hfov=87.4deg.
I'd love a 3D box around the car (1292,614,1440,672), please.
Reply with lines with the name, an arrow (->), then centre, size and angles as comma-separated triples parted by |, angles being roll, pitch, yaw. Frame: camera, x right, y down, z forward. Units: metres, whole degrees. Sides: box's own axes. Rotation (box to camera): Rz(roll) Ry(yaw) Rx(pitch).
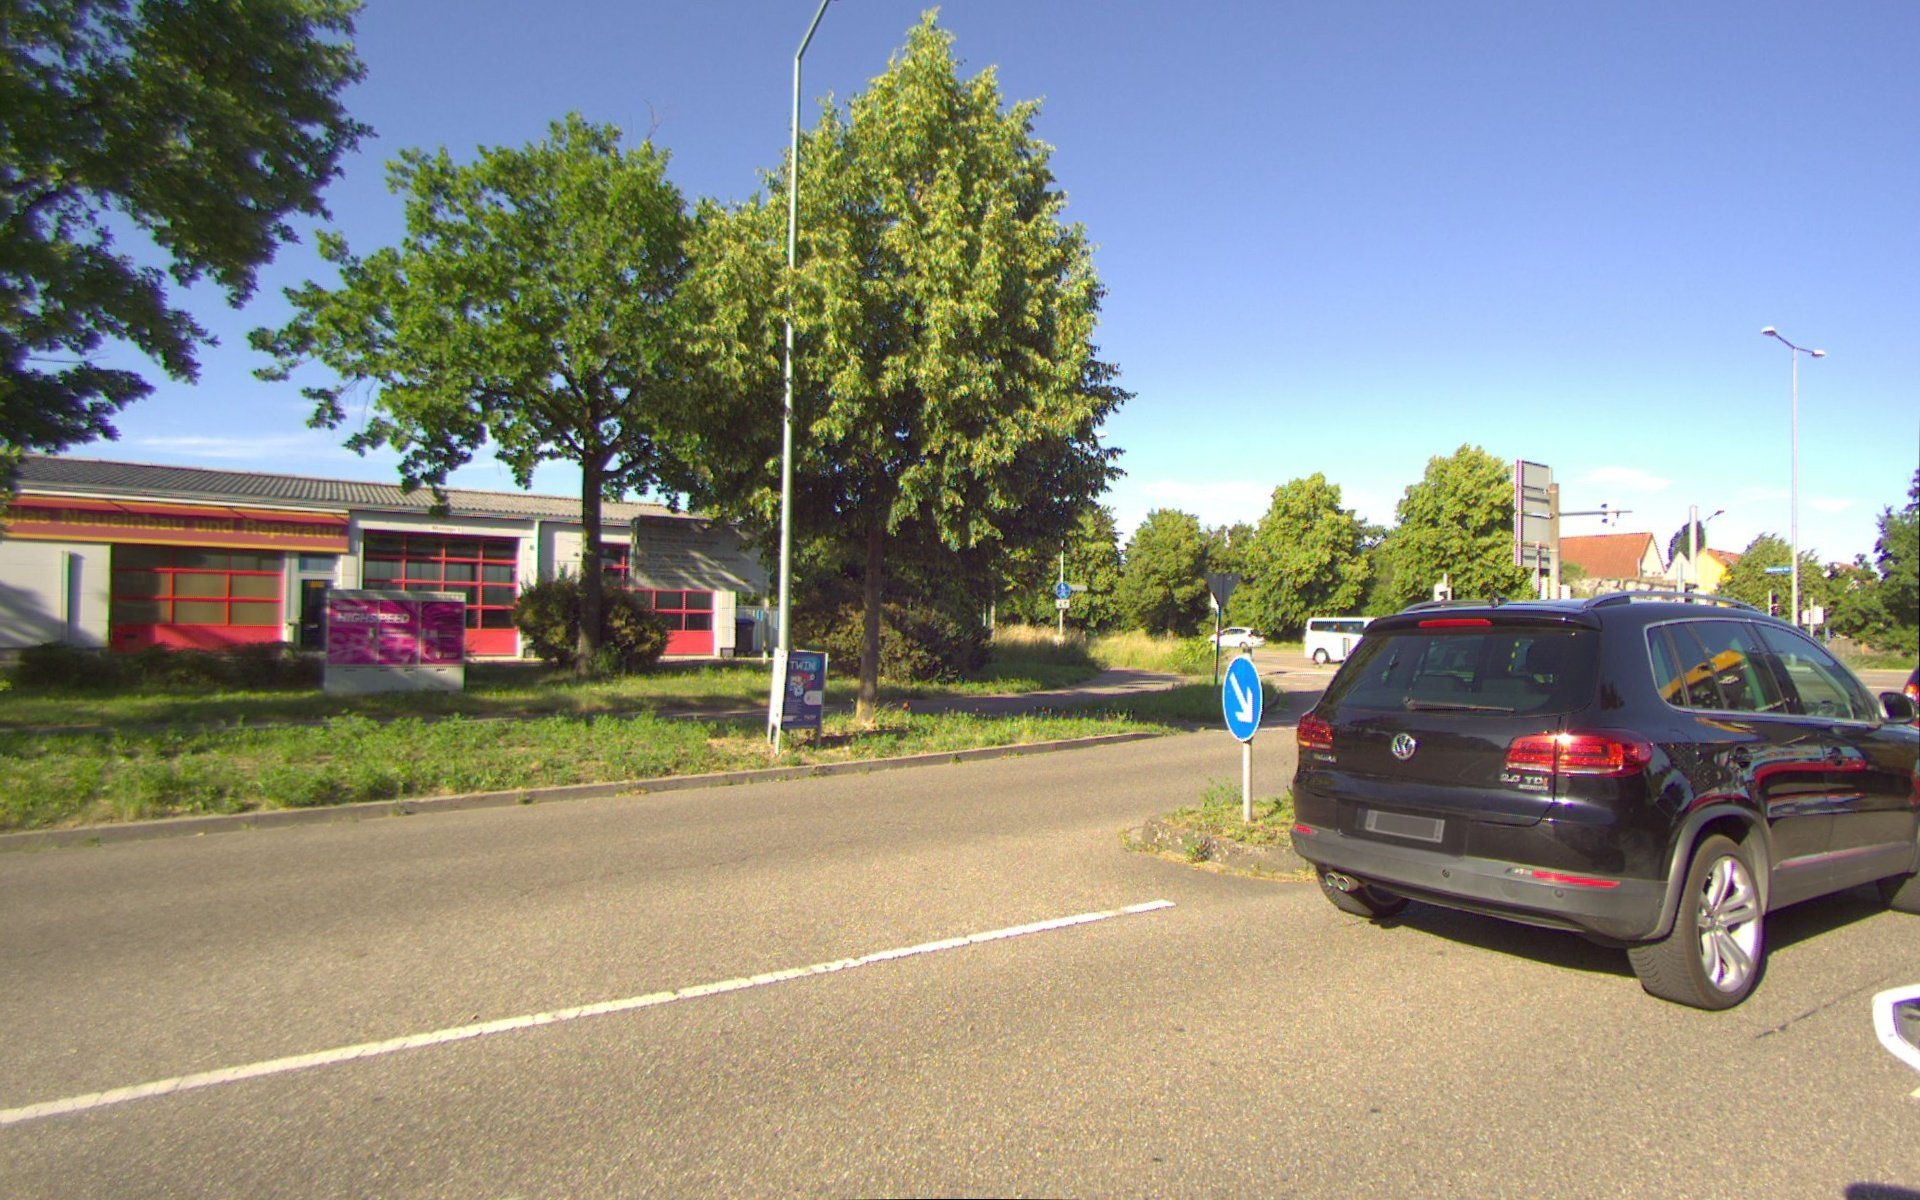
car -> 16.674, 1.716, 41.526 | 2.160, 2.146, 5.350 | 2, -1, -35

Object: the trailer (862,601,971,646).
trailer -> -4.562, 2.239, 99.232 | 3.408, 4.066, 14.555 | 1, -1, -36

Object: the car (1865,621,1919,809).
car -> 10.216, 1.009, 9.208 | 3.954, 1.610, 1.753 | 1, -3, -31

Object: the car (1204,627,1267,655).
car -> 18.110, 2.692, 66.132 | 1.691, 1.634, 3.781 | 2, 0, -35

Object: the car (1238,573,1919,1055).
car -> 3.539, 0.824, 5.308 | 3.954, 1.675, 1.763 | 1, -3, -31

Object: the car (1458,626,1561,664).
car -> 23.742, 1.915, 43.490 | 1.733, 1.581, 3.559 | 2, -2, -35
